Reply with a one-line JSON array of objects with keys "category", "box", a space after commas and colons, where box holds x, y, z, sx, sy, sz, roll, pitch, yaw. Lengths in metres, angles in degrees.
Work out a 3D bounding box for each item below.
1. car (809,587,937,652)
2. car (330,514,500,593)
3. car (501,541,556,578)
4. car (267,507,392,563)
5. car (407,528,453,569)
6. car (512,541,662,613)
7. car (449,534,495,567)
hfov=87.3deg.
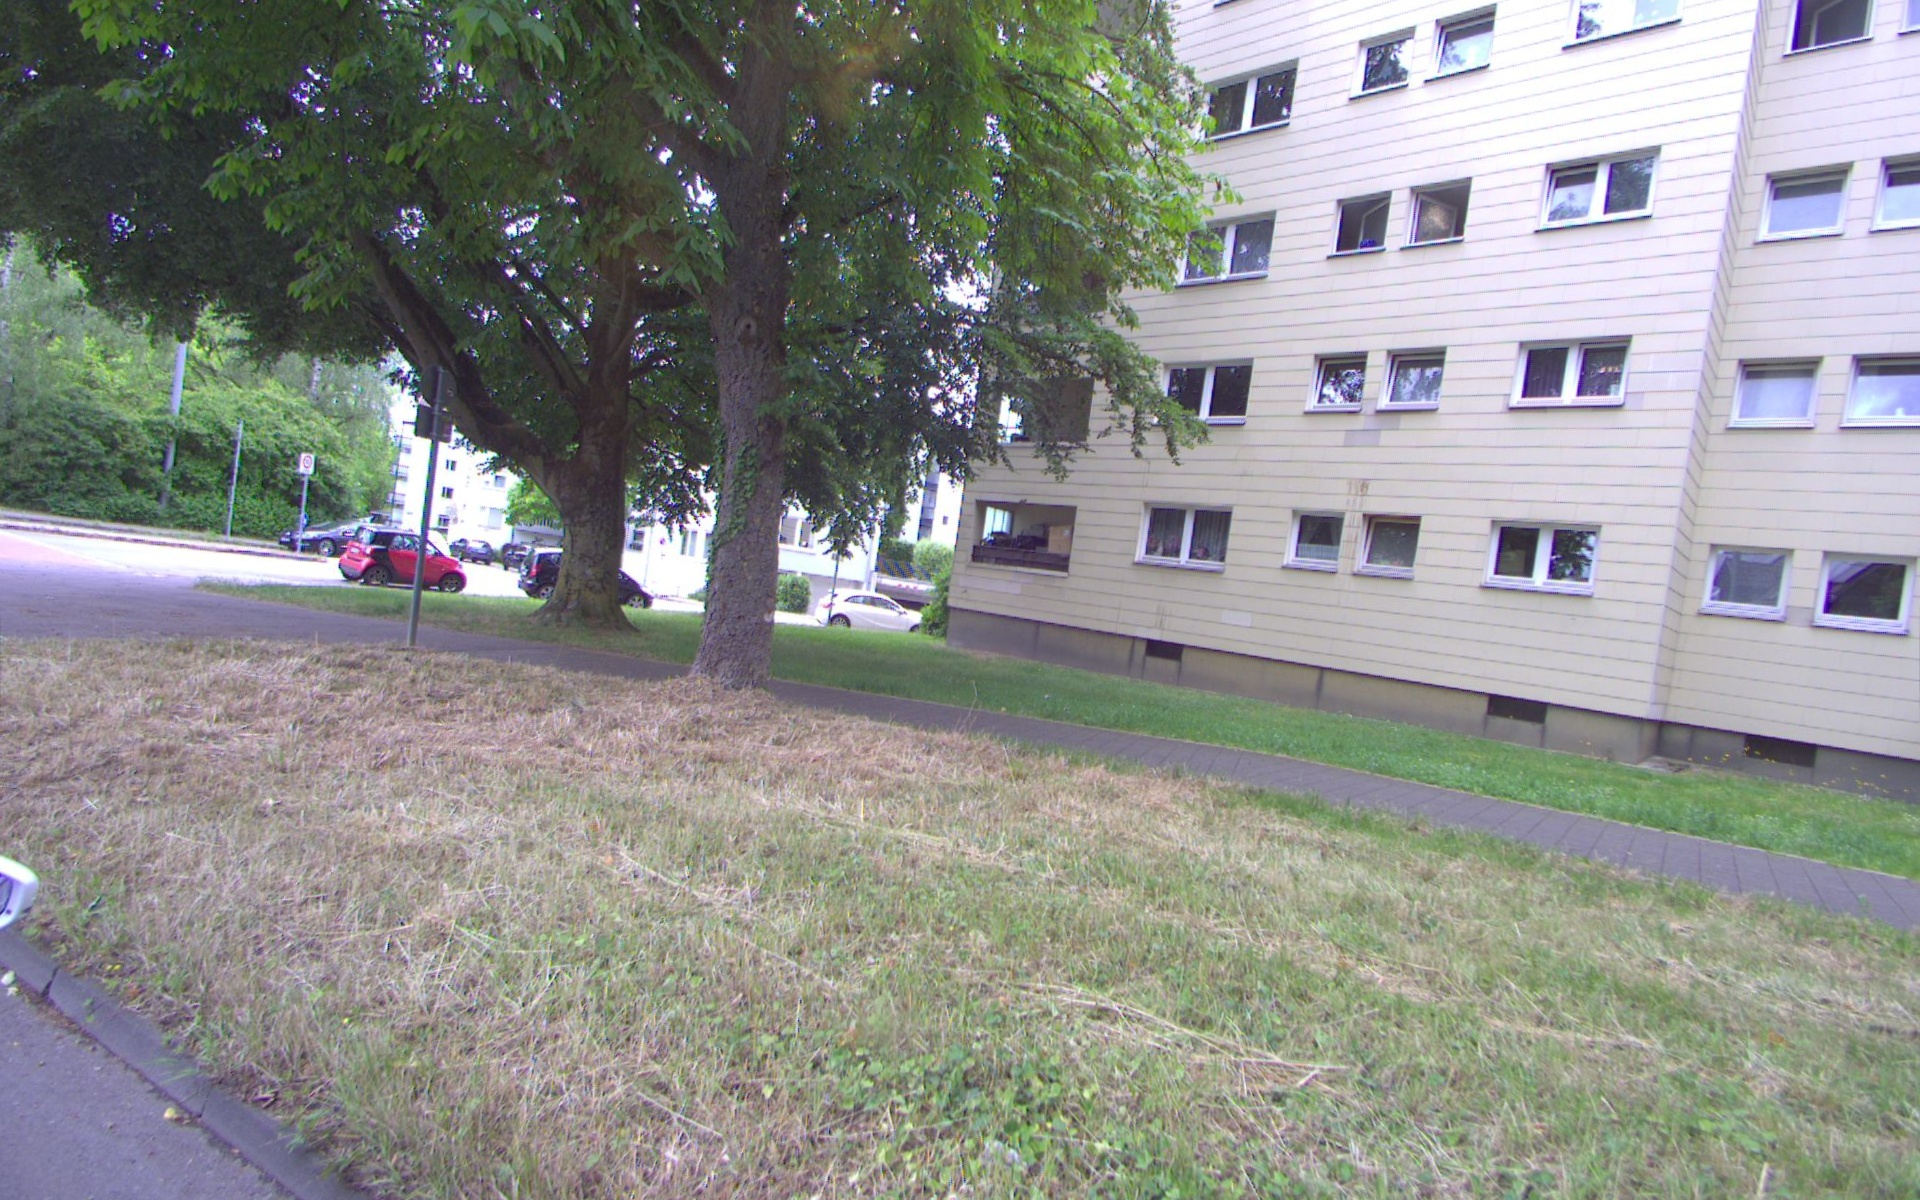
[{"category": "car", "box": [-2.897, 0.631, 33.317, 3.796, 1.631, 1.721, 7, 1, -18]}, {"category": "car", "box": [-14.539, -1.207, 26.954, 1.702, 1.631, 3.516, 8, 1, 37]}, {"category": "car", "box": [-23.201, -2.197, 54.077, 1.713, 1.631, 3.813, 6, 1, -38]}, {"category": "car", "box": [-23.414, -2.403, 37.437, 1.702, 1.549, 3.515, 8, 1, 38]}, {"category": "car", "box": [-24.890, -2.441, 47.189, 1.709, 1.631, 3.823, 6, 1, -30]}, {"category": "car", "box": [-11.069, -0.675, 29.928, 3.814, 1.631, 1.713, 6, 1, -33]}, {"category": "car", "box": [-30.126, -3.071, 62.029, 1.713, 1.631, 3.813, 6, 1, -38]}]
